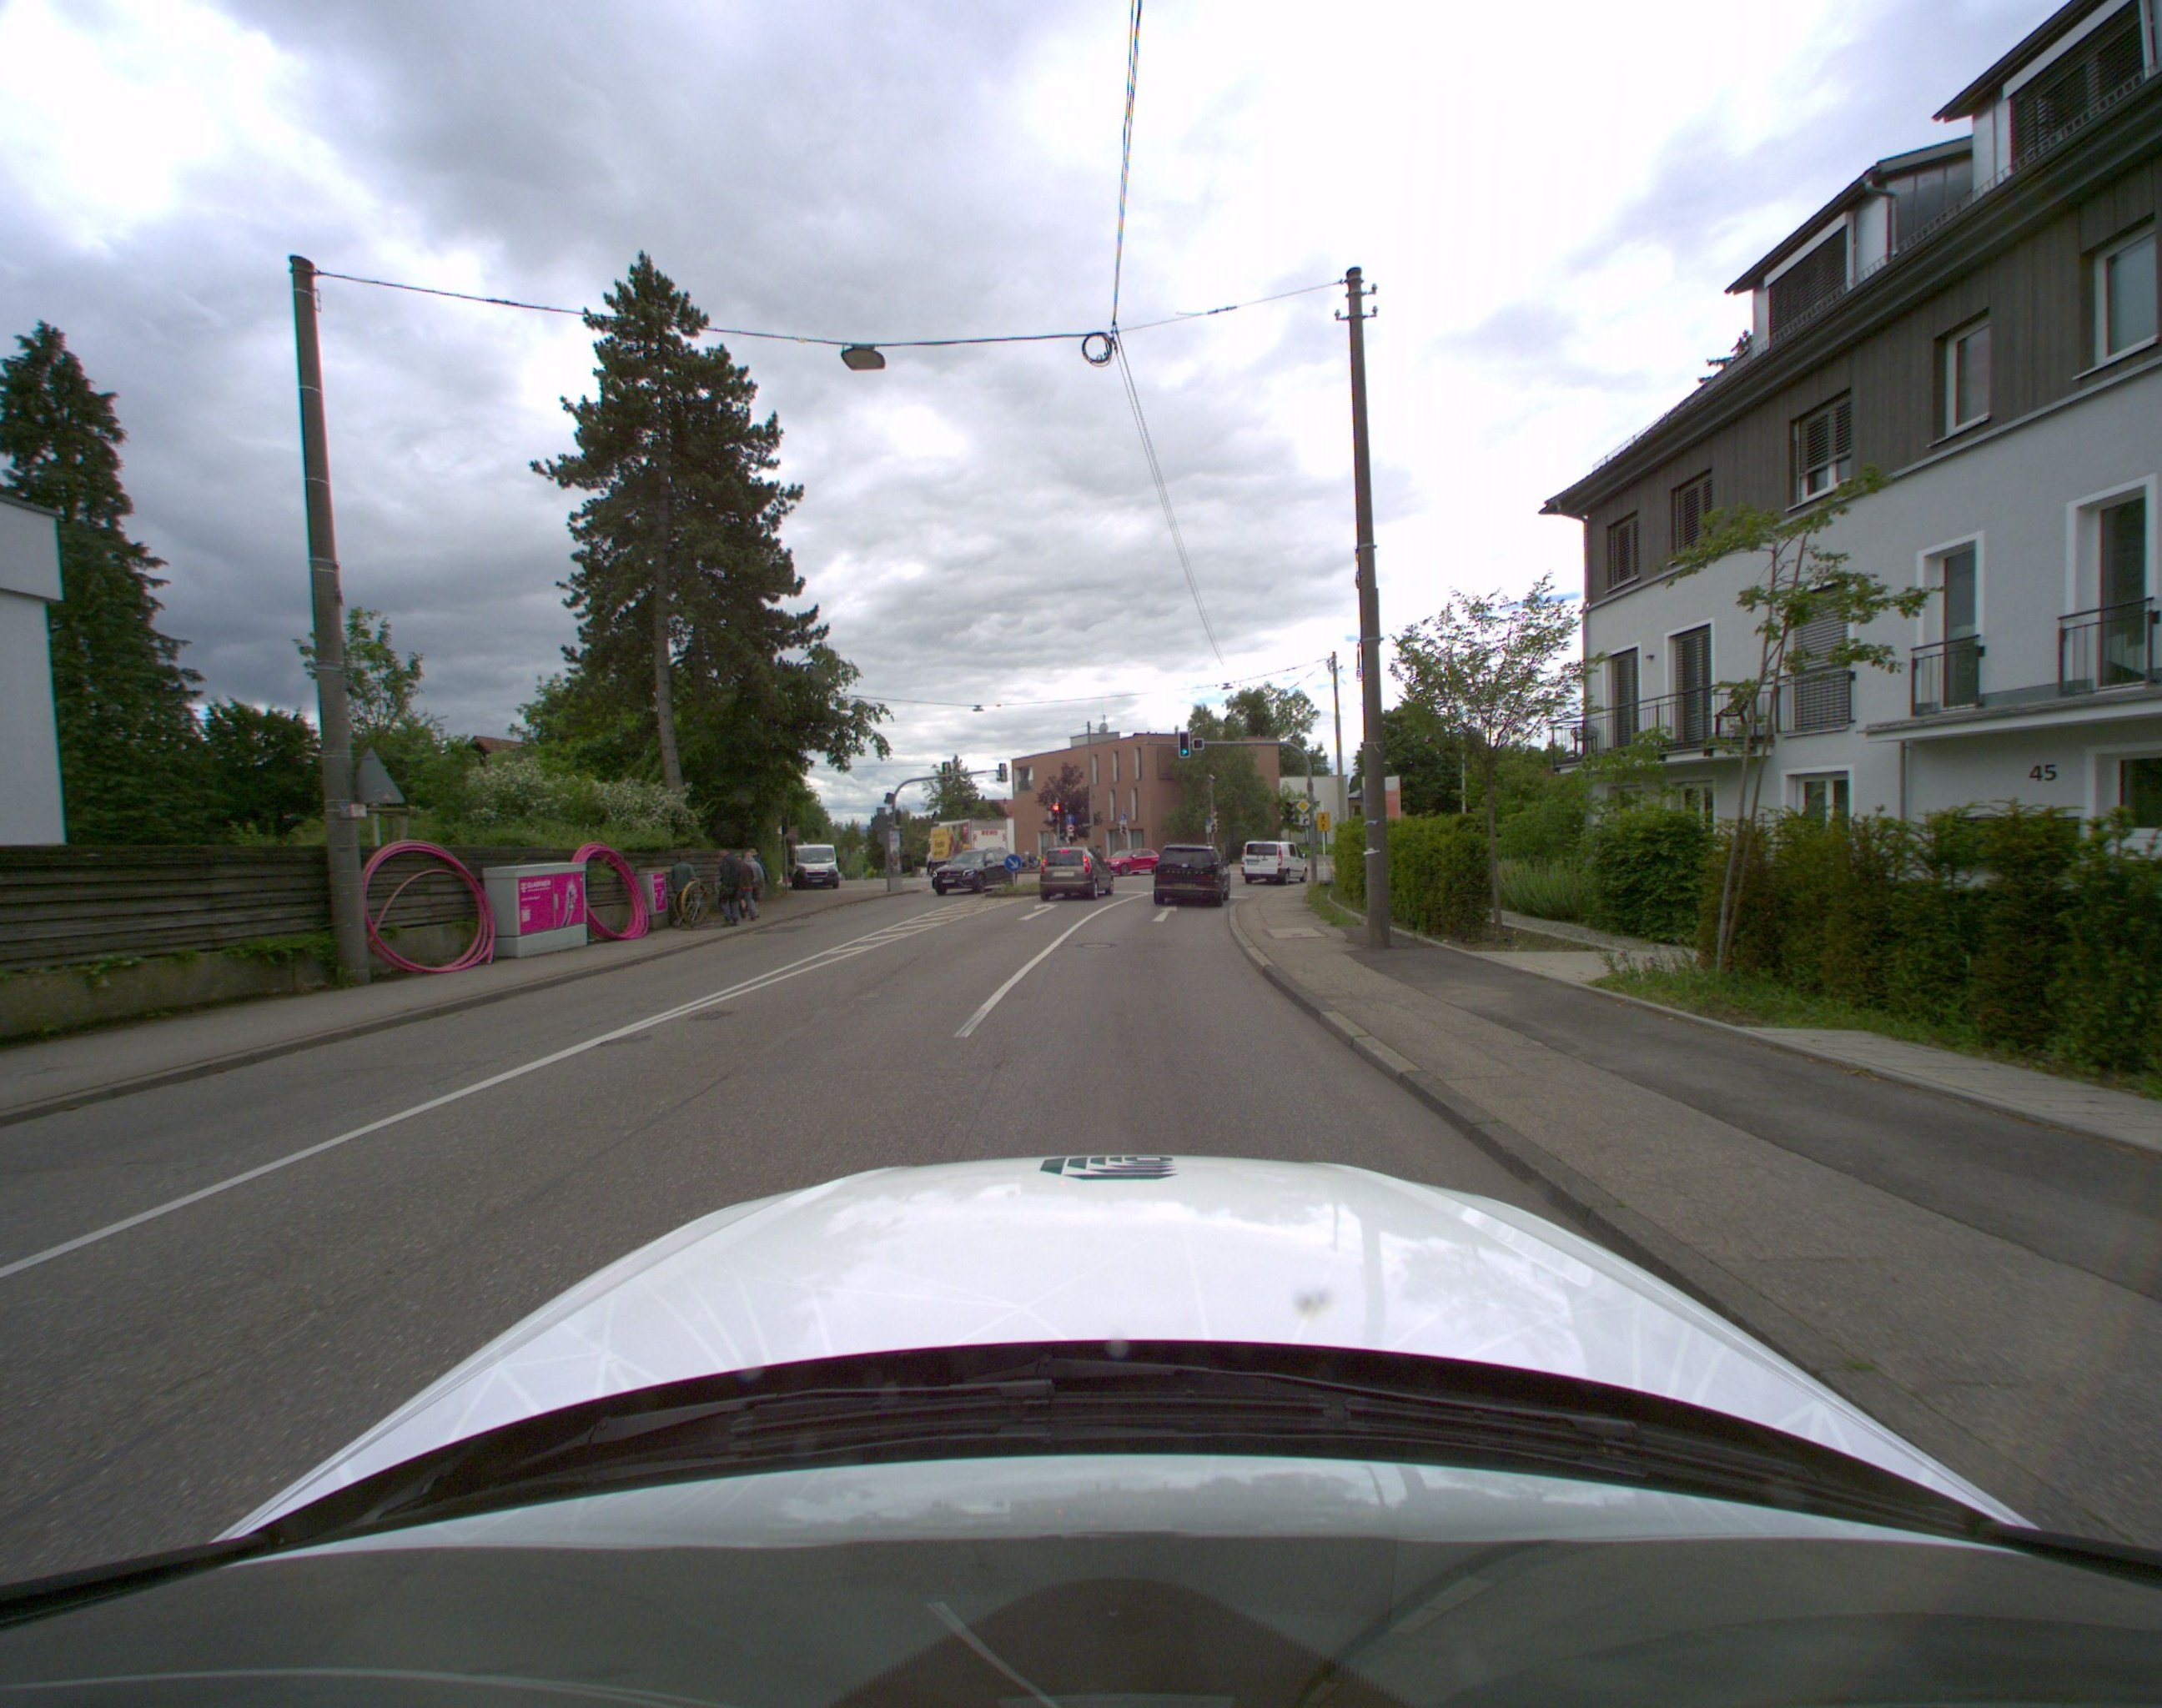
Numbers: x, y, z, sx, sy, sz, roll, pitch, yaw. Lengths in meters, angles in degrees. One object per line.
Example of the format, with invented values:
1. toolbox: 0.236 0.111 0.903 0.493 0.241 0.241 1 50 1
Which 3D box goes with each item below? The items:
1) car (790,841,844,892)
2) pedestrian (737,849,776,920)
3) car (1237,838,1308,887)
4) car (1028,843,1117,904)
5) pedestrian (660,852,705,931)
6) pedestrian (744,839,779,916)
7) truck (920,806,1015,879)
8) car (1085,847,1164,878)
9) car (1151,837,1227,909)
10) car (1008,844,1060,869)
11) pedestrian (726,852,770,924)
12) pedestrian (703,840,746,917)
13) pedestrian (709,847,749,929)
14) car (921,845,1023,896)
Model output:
1. car: -13.210 0.587 40.741 2.287 2.227 6.431 -2 0 -18
2. pedestrian: -8.406 0.774 21.087 0.873 1.753 0.689 -2 0 -23
3. car: 8.717 0.334 36.797 1.943 2.013 4.456 1 2 29
4. car: -0.166 0.546 25.581 1.880 1.706 4.014 -2 0 12
5. pedestrian: -9.290 0.848 19.014 0.818 1.763 0.861 -2 0 -22
6. pedestrian: -8.716 0.625 22.236 0.708 2.013 1.019 -2 0 -14
7. truck: -8.481 -0.724 58.996 3.142 4.734 11.692 -2 1 -27
8. car: 2.408 0.447 44.460 1.975 1.564 4.243 -2 0 44
9. car: 3.149 0.489 23.585 1.982 1.881 4.009 1 0 8
10. car: -4.107 0.200 71.186 4.009 2.013 1.983 -2 0 -27
11. pedestrian: -8.290 0.826 20.269 0.757 1.734 0.687 -2 0 -45
12. pedestrian: -9.585 0.641 21.932 0.701 2.013 0.814 -2 0 4
13. pedestrian: -8.160 0.769 18.872 0.754 1.837 0.609 -2 0 -28
14. car: -4.098 0.605 31.503 1.977 1.797 4.543 -2 -1 20
